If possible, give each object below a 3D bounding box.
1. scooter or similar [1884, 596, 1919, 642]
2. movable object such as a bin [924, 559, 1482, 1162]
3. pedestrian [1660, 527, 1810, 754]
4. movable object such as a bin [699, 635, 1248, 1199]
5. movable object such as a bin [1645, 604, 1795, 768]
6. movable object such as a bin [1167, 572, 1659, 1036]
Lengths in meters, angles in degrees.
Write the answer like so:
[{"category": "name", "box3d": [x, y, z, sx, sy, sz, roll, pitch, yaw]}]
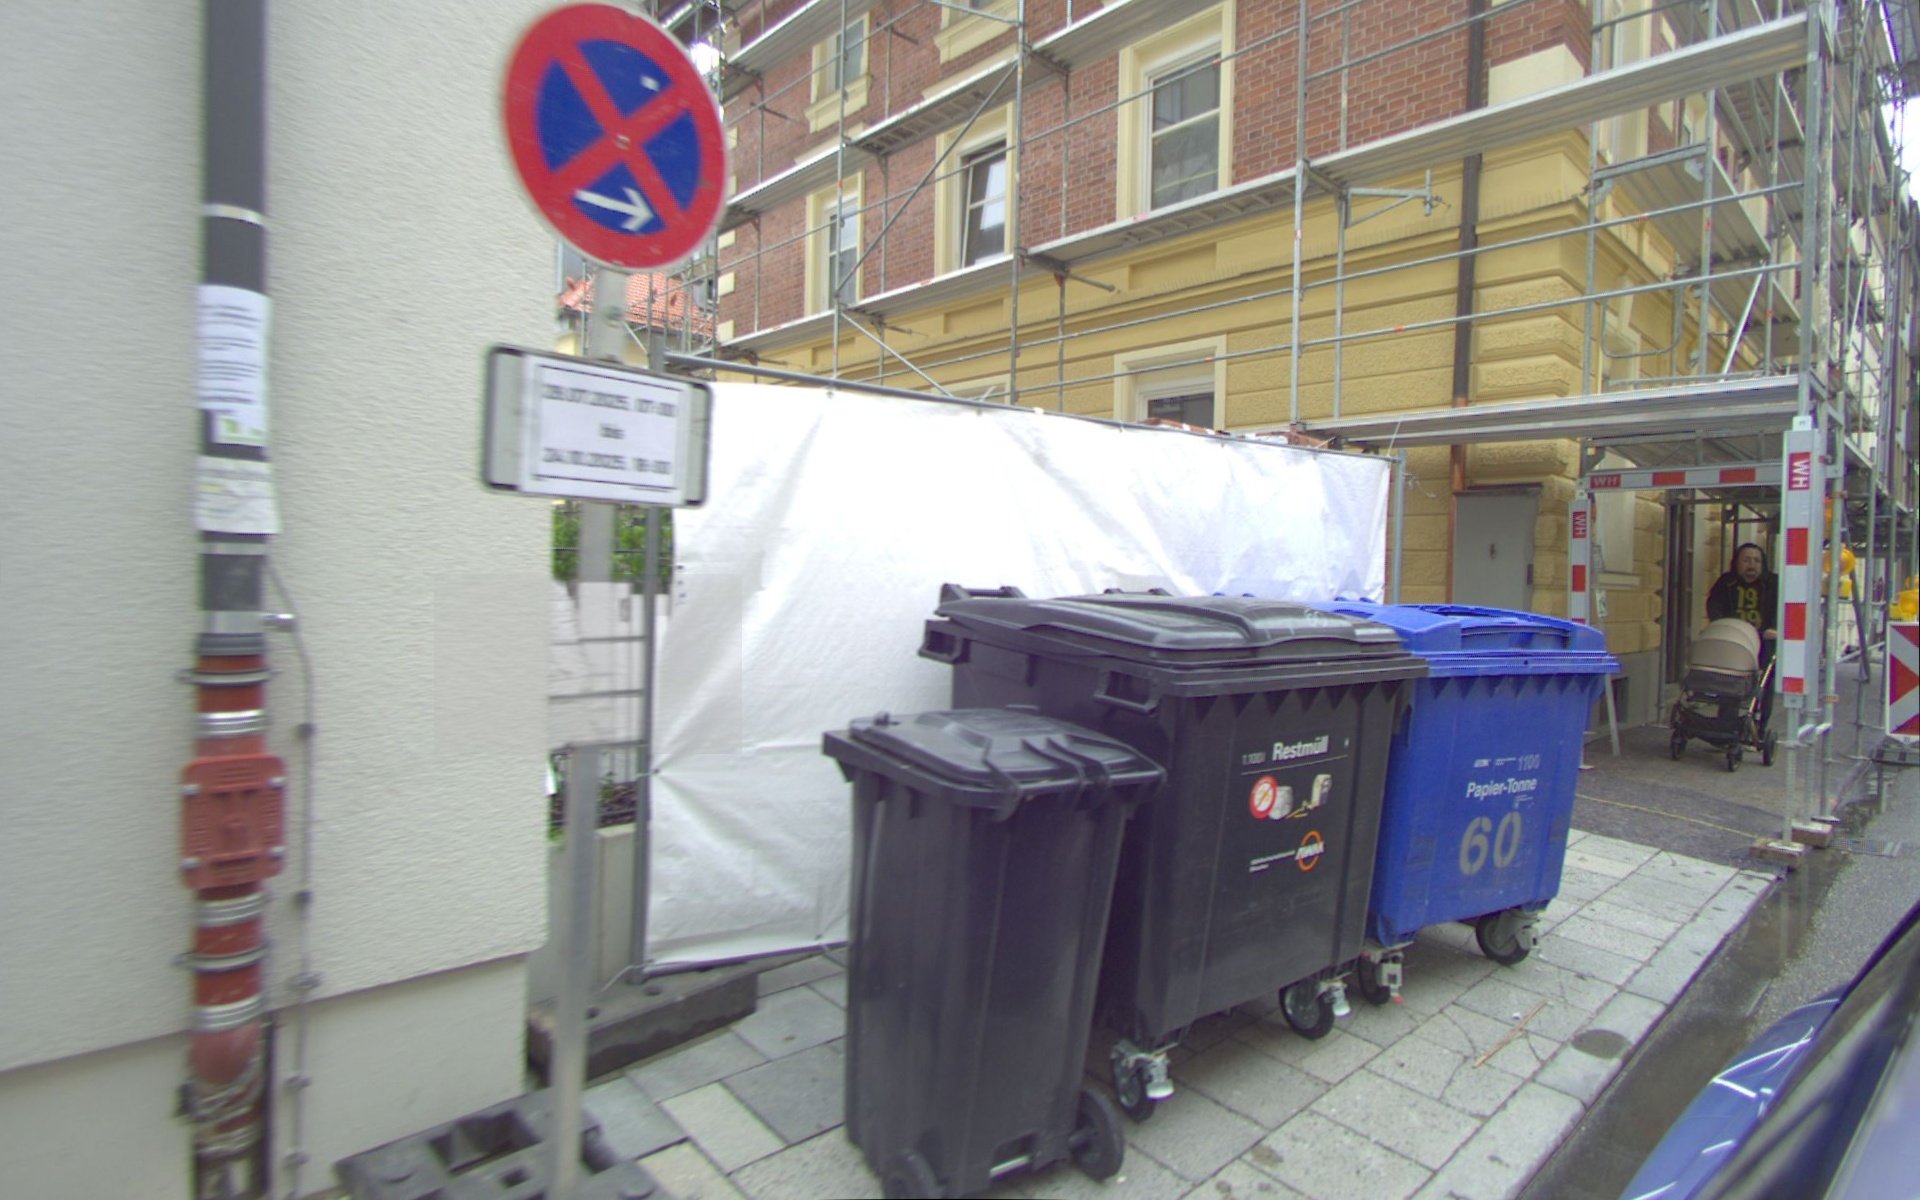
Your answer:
[{"category": "scooter or similar", "box3d": [26.377, 0.551, 27.740, 1.576, 1.197, 0.496, 3, 3, -2]}, {"category": "movable object such as a bin", "box3d": [0.713, 0.612, 3.167, 1.149, 1.361, 1.131, 1, 5, -35]}, {"category": "pedestrian", "box3d": [6.626, 0.308, 8.648, 0.972, 1.773, 0.730, 0, 5, -44]}, {"category": "movable object such as a bin", "box3d": [-0.050, 0.723, 2.579, 0.774, 1.108, 1.216, 1, 5, -35]}, {"category": "movable object such as a bin", "box3d": [6.180, 0.652, 8.224, 0.972, 1.154, 0.730, 0, 6, -44]}, {"category": "movable object such as a bin", "box3d": [1.700, 0.632, 3.891, 1.291, 1.362, 1.092, 1, 4, -31]}]
